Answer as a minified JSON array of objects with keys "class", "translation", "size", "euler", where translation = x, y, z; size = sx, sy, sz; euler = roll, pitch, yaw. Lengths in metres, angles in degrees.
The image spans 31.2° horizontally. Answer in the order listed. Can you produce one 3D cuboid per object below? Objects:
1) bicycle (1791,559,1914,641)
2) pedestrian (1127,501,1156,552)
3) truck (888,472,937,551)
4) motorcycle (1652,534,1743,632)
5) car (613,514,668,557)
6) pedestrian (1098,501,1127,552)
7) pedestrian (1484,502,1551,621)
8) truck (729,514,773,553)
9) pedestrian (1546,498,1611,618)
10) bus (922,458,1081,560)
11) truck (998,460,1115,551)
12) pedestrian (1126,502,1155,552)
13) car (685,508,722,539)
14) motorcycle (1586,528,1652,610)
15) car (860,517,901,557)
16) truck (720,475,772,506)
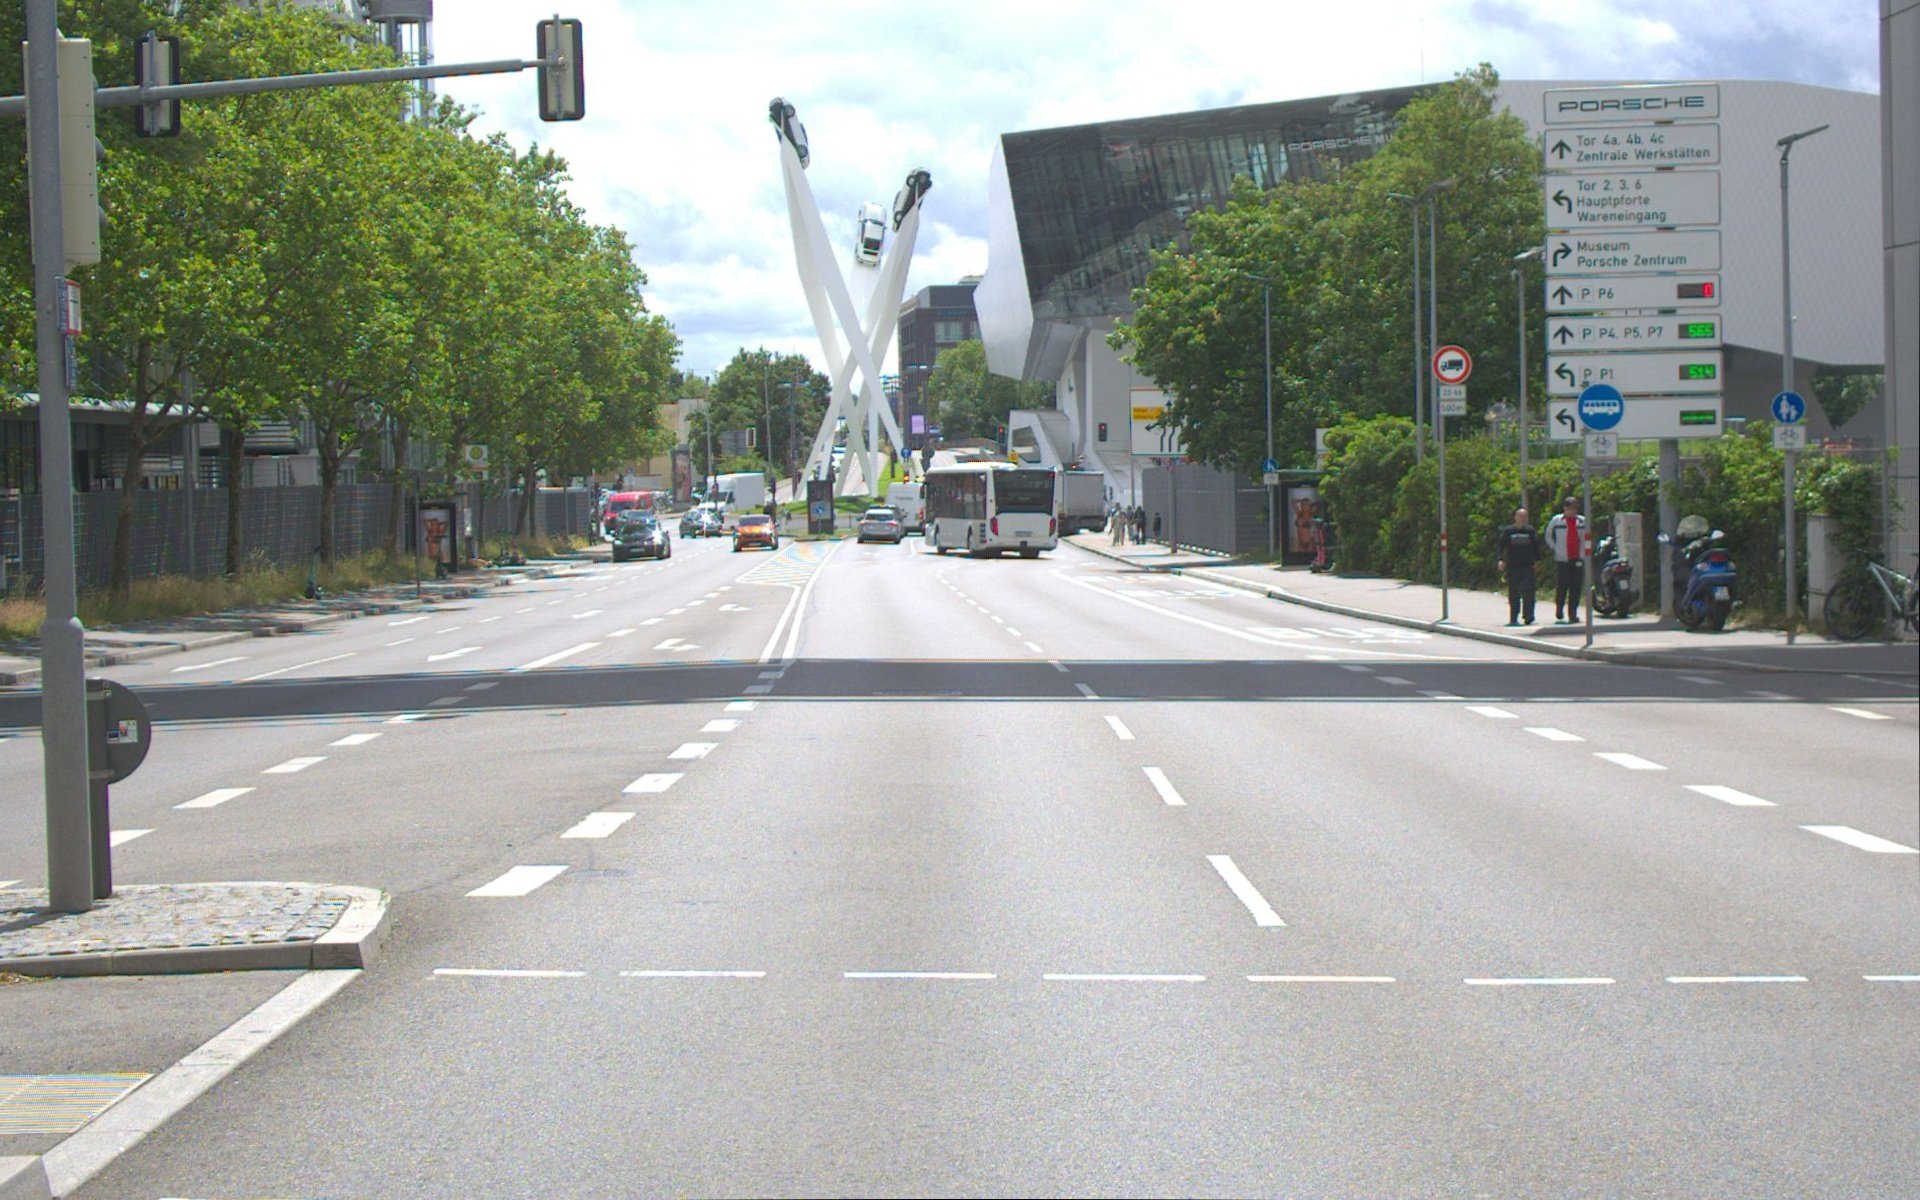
[{"class":"bicycle","translation":[10.619,-0.014,40.960],"size":[0.397,0.933,1.929],"euler":[0,1,-19]},{"class":"pedestrian","translation":[7.275,-2.952,137.849],"size":[1.028,2.007,0.885],"euler":[1,0,-4]},{"class":"truck","translation":[-2.374,-4.411,172.088],"size":[2.392,3.884,6.177],"euler":[0,1,-1]},{"class":"motorcycle","translation":[9.614,-0.233,44.880],"size":[0.706,1.199,2.024],"euler":[-2,2,-1]},{"class":"car","translation":[-12.007,-2.441,129.356],"size":[1.818,1.532,3.679],"euler":[-2,1,-2]},{"class":"pedestrian","translation":[6.115,-2.949,137.915],"size":[1.028,2.007,0.885],"euler":[1,0,-4]},{"class":"pedestrian","translation":[8.064,-0.560,49.743],"size":[0.820,1.701,0.881],"euler":[0,1,-1]},{"class":"truck","translation":[-8.388,-2.659,137.790],"size":[1.583,1.532,3.679],"euler":[0,1,-6]},{"class":"pedestrian","translation":[8.964,-0.610,49.817],"size":[0.820,1.735,0.637],"euler":[0,1,-1]},{"class":"bus","translation":[1.390,-3.246,124.272],"size":[3.451,3.531,10.609],"euler":[0,1,-12]},{"class":"truck","translation":[4.896,-4.673,171.626],"size":[3.455,4.376,9.412],"euler":[0,1,17]},{"class":"pedestrian","translation":[7.301,-2.951,138.923],"size":[1.028,2.007,0.885],"euler":[1,0,-4]},{"class":"car","translation":[-13.689,-4.076,183.283],"size":[1.818,1.532,3.679],"euler":[-2,1,-6]},{"class":"motorcycle","translation":[10.096,-0.487,52.737],"size":[0.574,1.199,2.024],"euler":[-2,2,-1]},{"class":"car","translation":[-3.422,-2.727,148.722],"size":[1.738,1.735,3.691],"euler":[0,1,-1]},{"class":"truck","translation":[-14.430,-7.365,232.130],"size":[1.761,2.007,4.438],"euler":[0,1,22]}]
